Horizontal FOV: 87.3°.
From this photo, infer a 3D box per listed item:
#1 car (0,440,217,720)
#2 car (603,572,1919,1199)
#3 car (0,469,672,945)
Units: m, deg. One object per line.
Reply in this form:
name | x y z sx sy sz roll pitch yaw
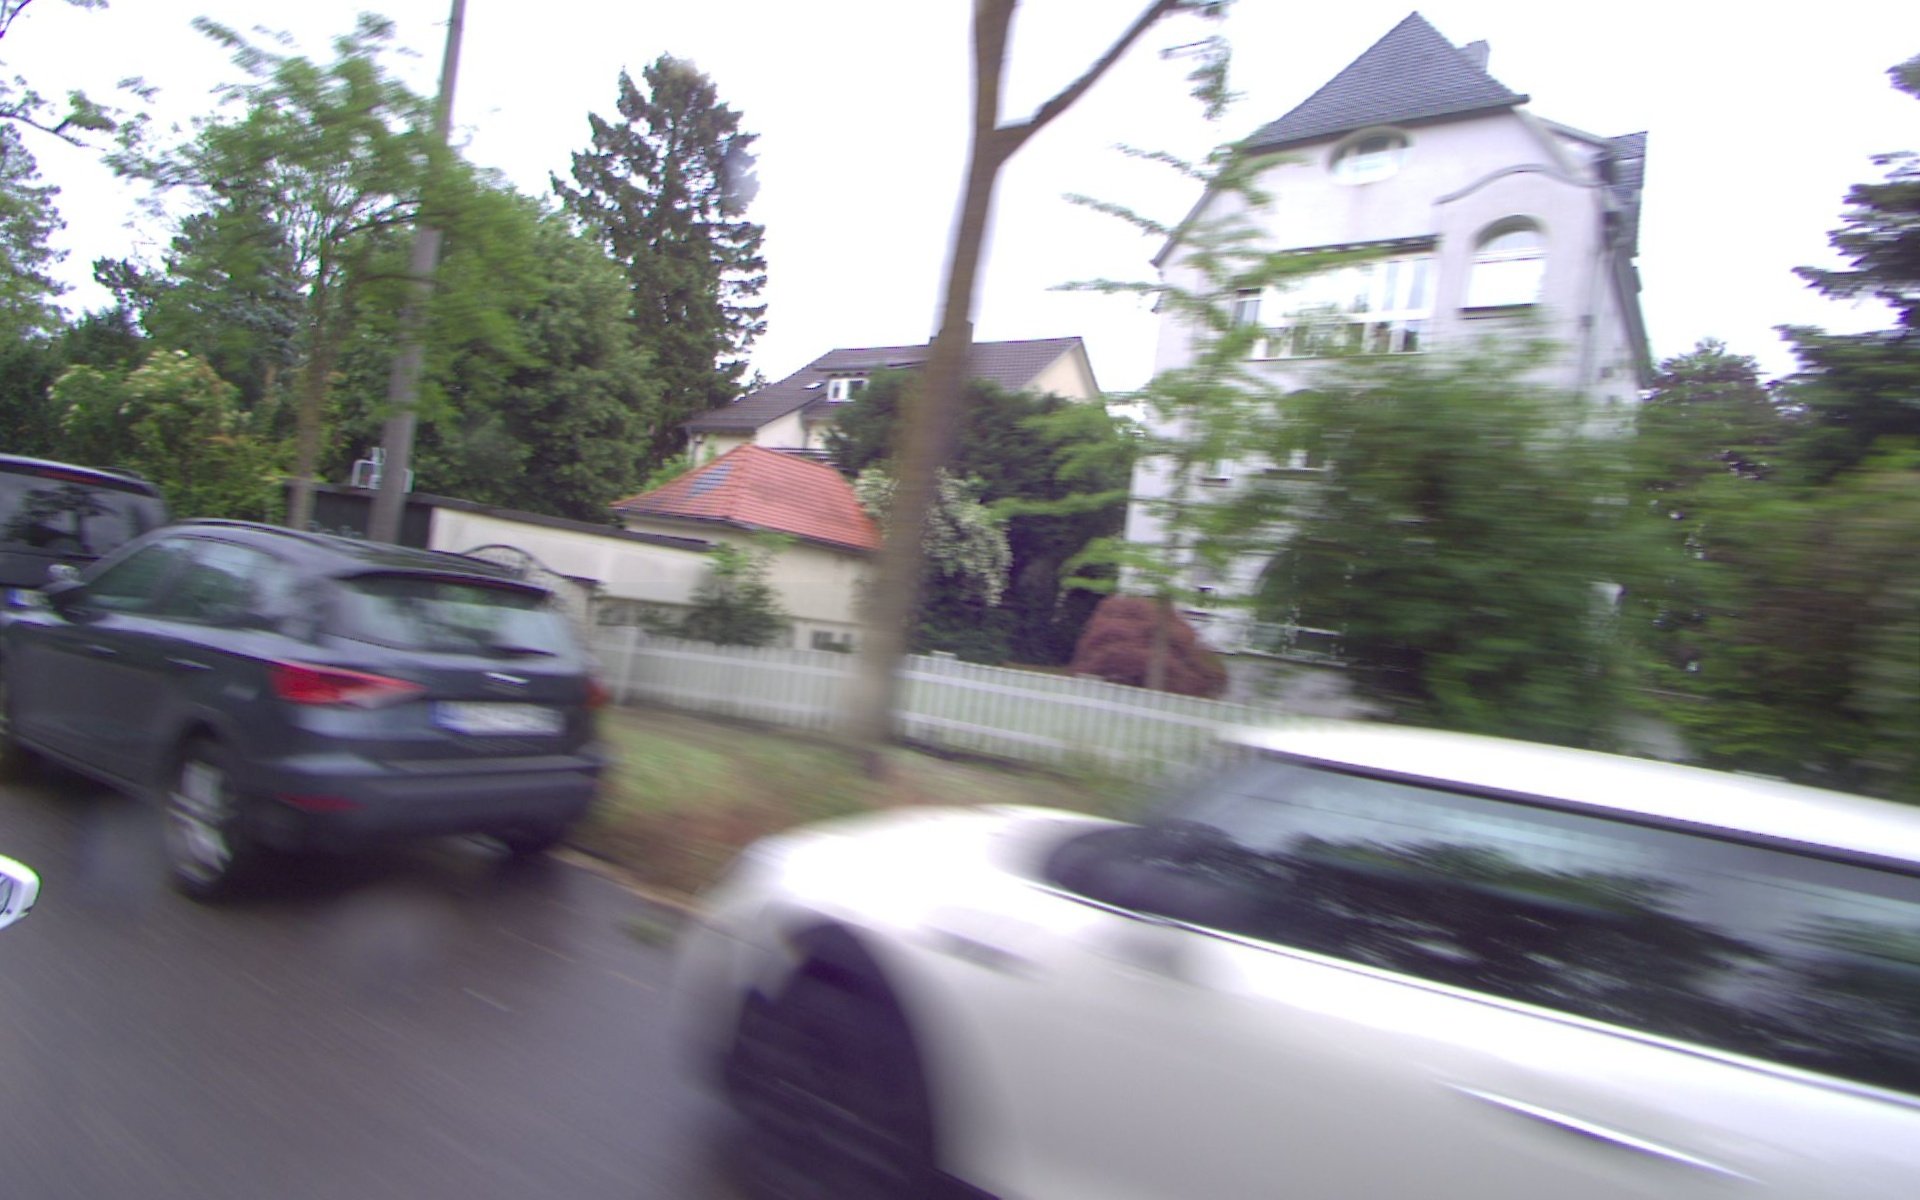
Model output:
car | -8.079 -0.325 8.146 4.160 1.868 1.734 7 -2 32
car | 1.103 0.956 2.558 3.663 1.481 1.742 7 -2 32
car | -3.664 0.325 5.371 4.008 1.573 1.682 7 -2 32
